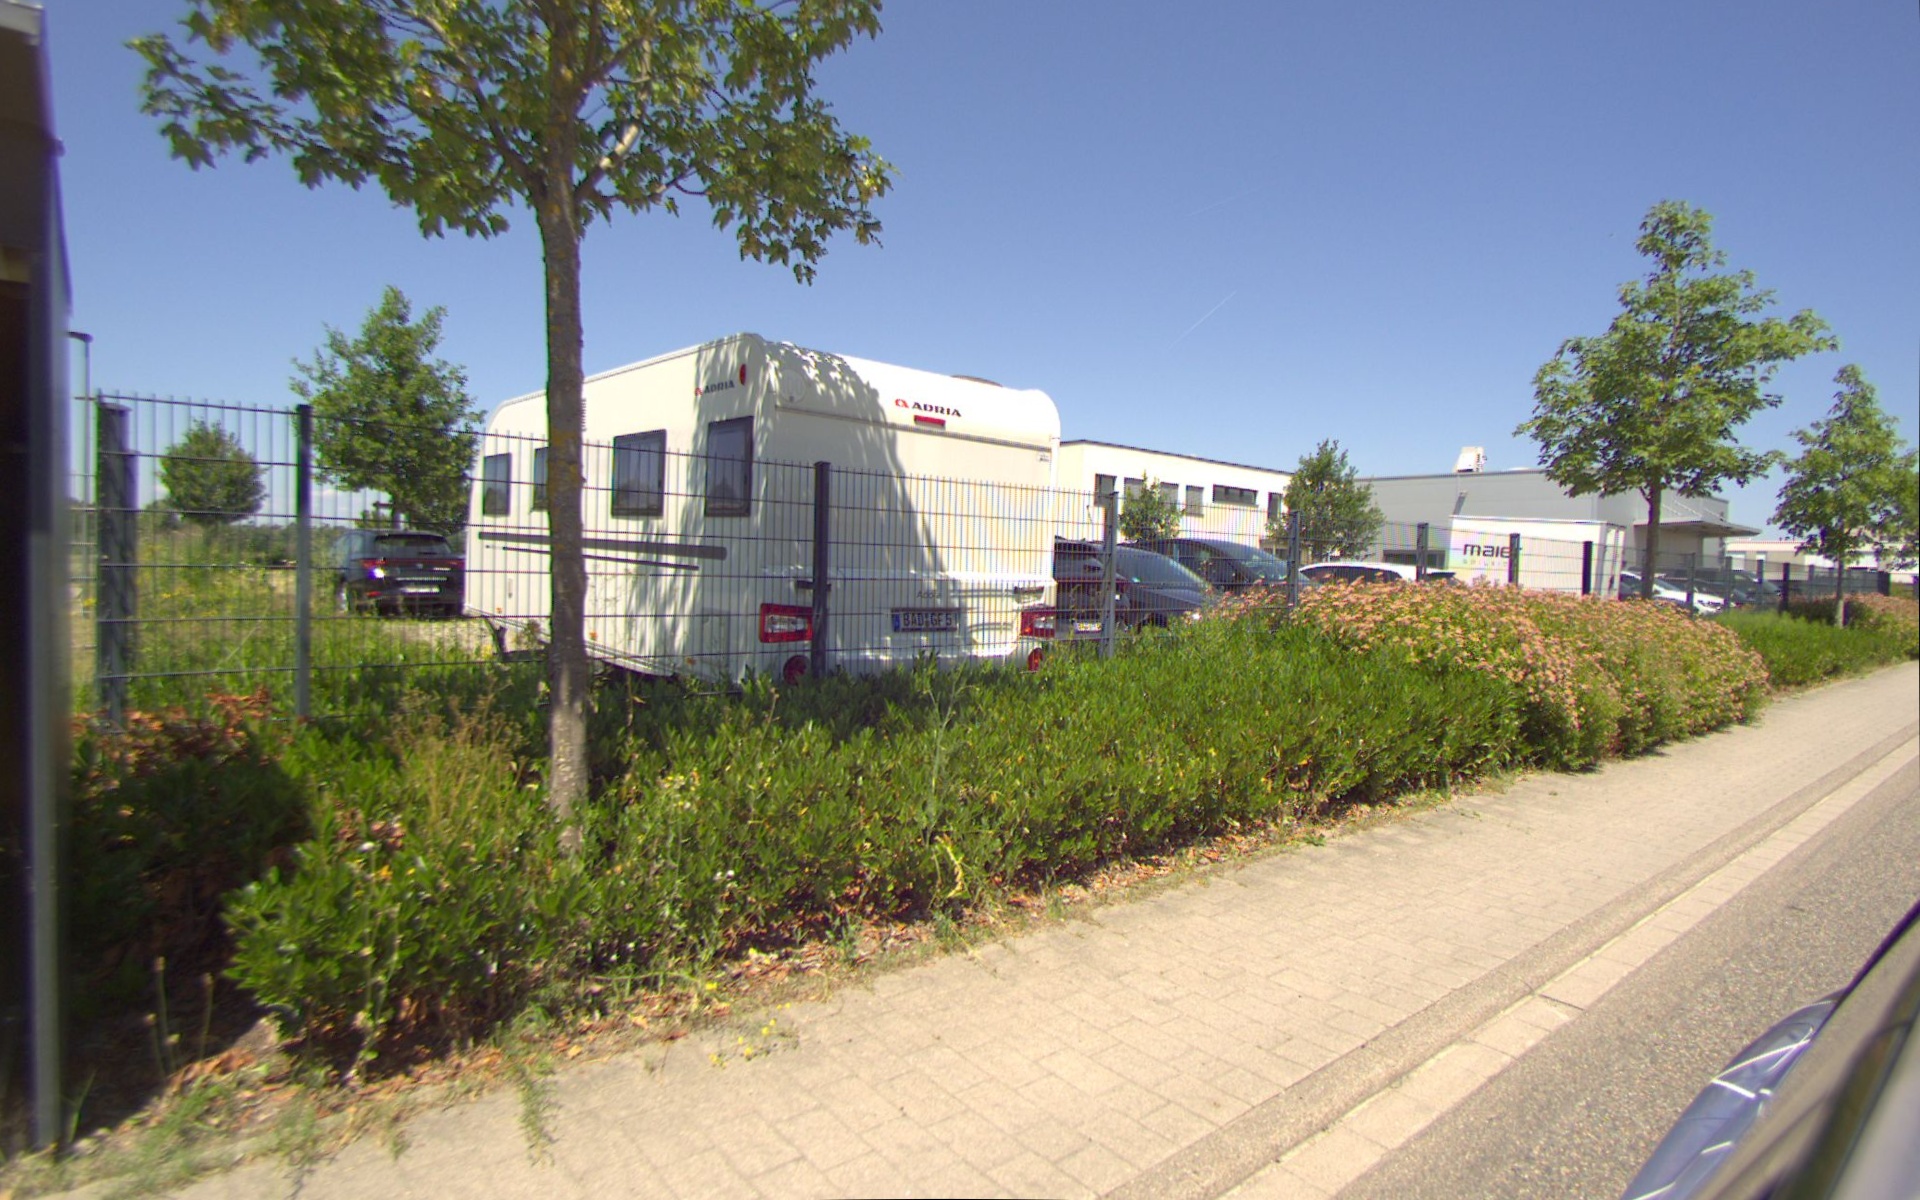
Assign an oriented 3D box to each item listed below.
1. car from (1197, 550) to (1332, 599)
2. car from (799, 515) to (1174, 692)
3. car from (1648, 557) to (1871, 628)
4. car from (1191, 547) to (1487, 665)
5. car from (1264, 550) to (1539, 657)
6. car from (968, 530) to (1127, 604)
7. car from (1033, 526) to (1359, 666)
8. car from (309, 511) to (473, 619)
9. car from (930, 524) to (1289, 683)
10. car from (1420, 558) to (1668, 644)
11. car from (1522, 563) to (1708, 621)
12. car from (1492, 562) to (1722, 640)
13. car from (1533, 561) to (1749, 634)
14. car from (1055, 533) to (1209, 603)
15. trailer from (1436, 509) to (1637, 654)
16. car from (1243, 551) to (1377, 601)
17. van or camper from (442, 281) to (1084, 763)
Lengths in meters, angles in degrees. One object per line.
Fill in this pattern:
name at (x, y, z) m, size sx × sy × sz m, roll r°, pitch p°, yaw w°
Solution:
car at (10.219, -0.890, 34.224) m, size 1.745 × 1.466 × 4.050 m, roll 0°, pitch 3°, yaw -40°
car at (0.103, -0.102, 11.101) m, size 1.776 × 1.555 × 4.147 m, roll 0°, pitch 4°, yaw -40°
car at (24.757, -0.310, 31.528) m, size 1.869 × 1.896 × 5.126 m, roll 0°, pitch 4°, yaw -40°
car at (5.703, 0.002, 15.550) m, size 1.776 × 1.457 × 3.846 m, roll -1°, pitch 4°, yaw -43°
car at (7.444, -0.029, 17.347) m, size 1.774 × 1.493 × 3.901 m, roll 0°, pitch 4°, yaw -40°
car at (2.249, -0.914, 26.879) m, size 1.885 × 1.785 × 4.050 m, roll 0°, pitch 3°, yaw -40°
car at (3.181, -0.168, 14.407) m, size 1.776 × 1.639 × 4.263 m, roll 0°, pitch 4°, yaw -40°
car at (-9.625, -0.618, 16.983) m, size 1.719 × 1.595 × 3.830 m, roll 0°, pitch 3°, yaw -40°
car at (1.640, -0.085, 12.308) m, size 1.776 × 1.555 × 4.147 m, roll 0°, pitch 4°, yaw -40°
car at (12.082, -0.058, 21.130) m, size 1.885 × 1.522 × 4.050 m, roll 0°, pitch 3°, yaw -40°
car at (19.327, -0.296, 30.018) m, size 1.724 × 1.462 × 4.289 m, roll 0°, pitch 3°, yaw -40°
car at (14.613, -0.039, 23.032) m, size 1.713 × 1.509 × 4.050 m, roll 0°, pitch 3°, yaw -40°
car at (16.495, -0.118, 24.661) m, size 1.790 × 1.540 × 3.996 m, roll 0°, pitch 3°, yaw -40°
car at (4.860, -0.956, 28.981) m, size 1.885 × 1.822 × 4.050 m, roll 0°, pitch 3°, yaw -40°
trailer at (10.494, -0.401, 18.534) m, size 1.396 × 2.432 × 2.826 m, roll 0°, pitch 3°, yaw -44°
car at (12.233, -0.862, 35.544) m, size 1.885 × 1.571 × 4.050 m, roll 0°, pitch 3°, yaw -40°
van or camper at (-2.305, -0.584, 8.941) m, size 2.589 × 2.616 × 6.772 m, roll 0°, pitch 3°, yaw -40°
